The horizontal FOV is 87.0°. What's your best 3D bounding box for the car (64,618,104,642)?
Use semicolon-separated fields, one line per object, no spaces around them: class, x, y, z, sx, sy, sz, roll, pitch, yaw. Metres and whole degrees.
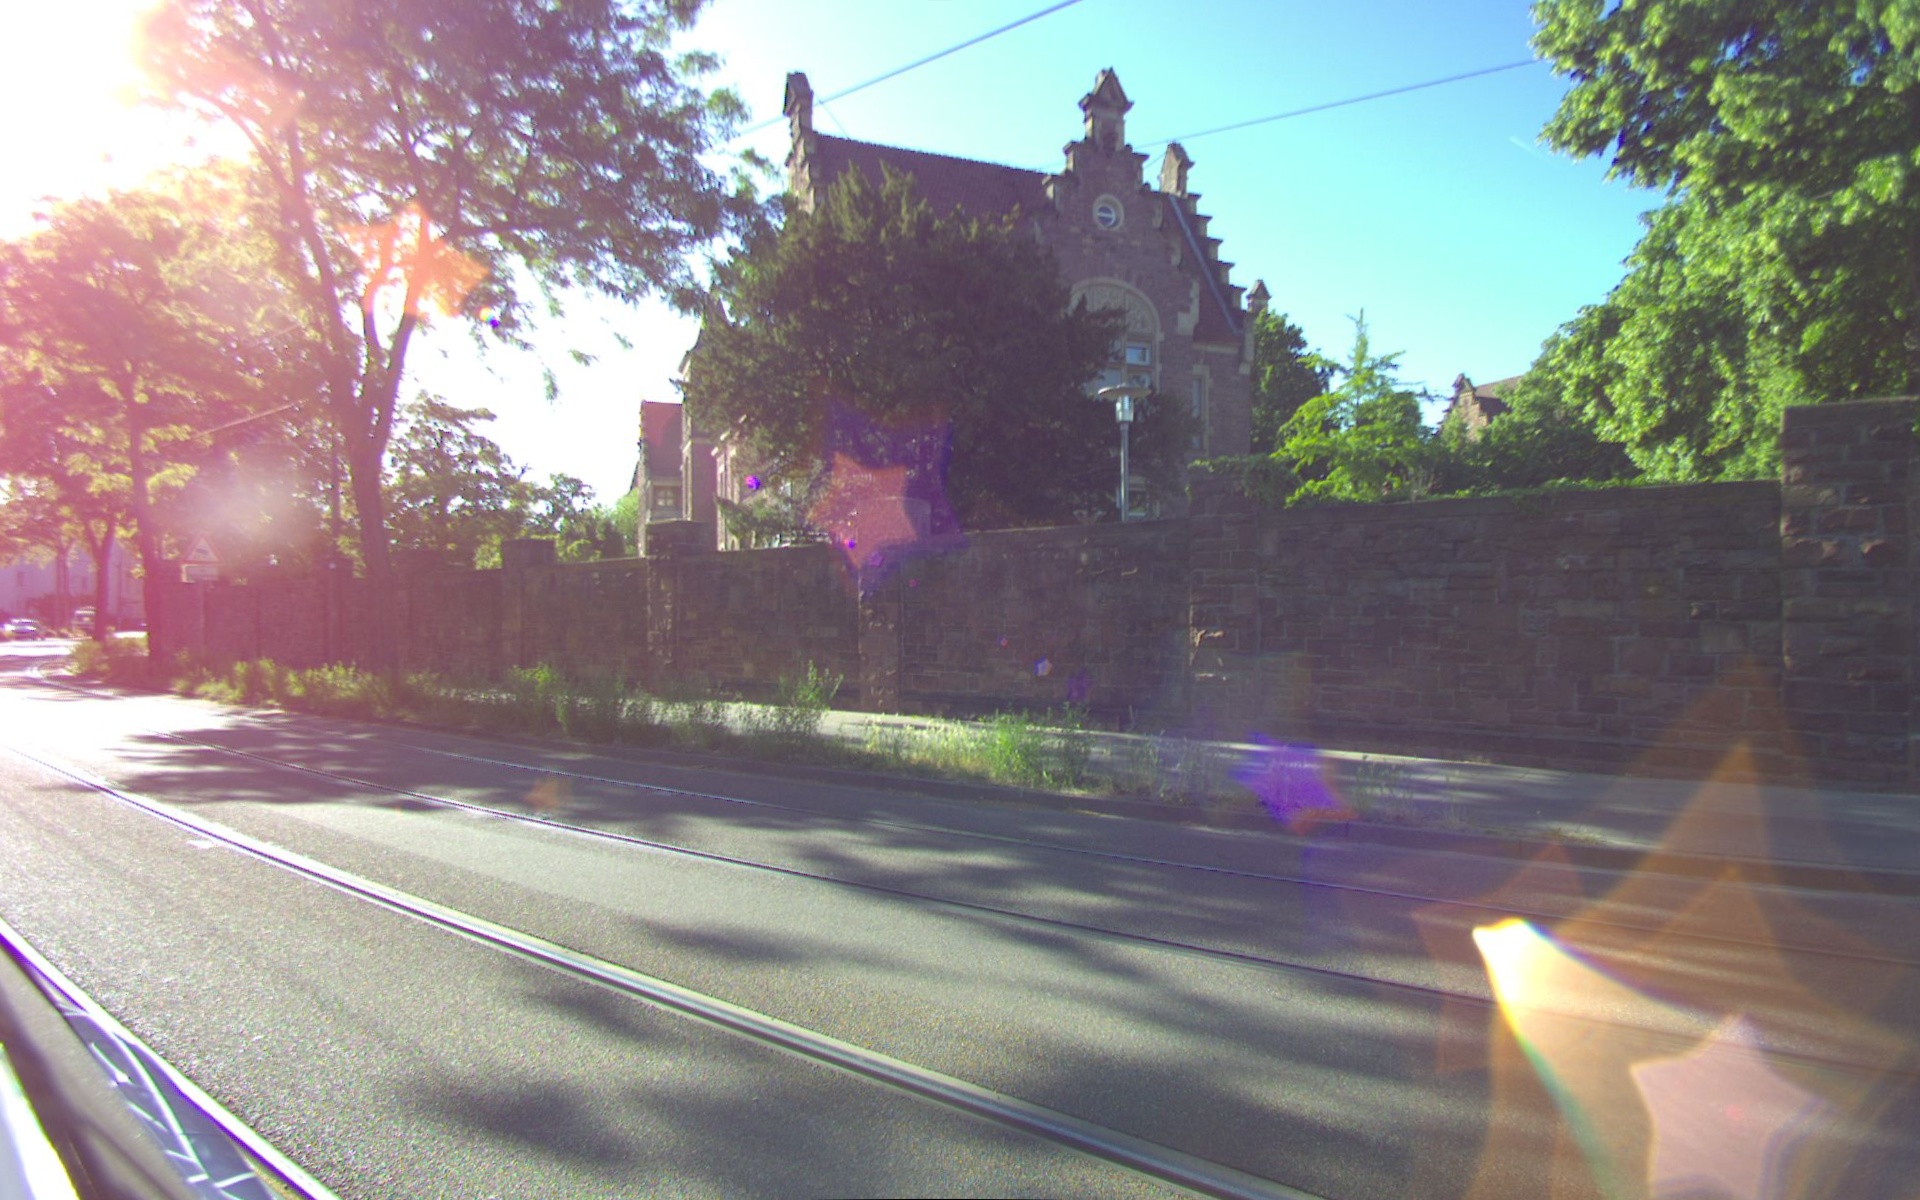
car;-78.043;2.638;90.189;1.966;2.111;4.729;1;-2;-32

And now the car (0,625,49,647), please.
car;-68.842;2.608;74.273;1.973;1.476;5.448;4;-3;-32

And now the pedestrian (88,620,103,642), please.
pedestrian;-72.217;2.577;84.570;0.866;1.879;1.022;0;-1;-37

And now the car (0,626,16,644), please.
car;-90.898;3.245;94.131;2.009;1.501;4.401;3;1;41

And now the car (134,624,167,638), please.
car;-93.326;3.602;116.769;1.713;1.507;4.544;0;-1;-21
